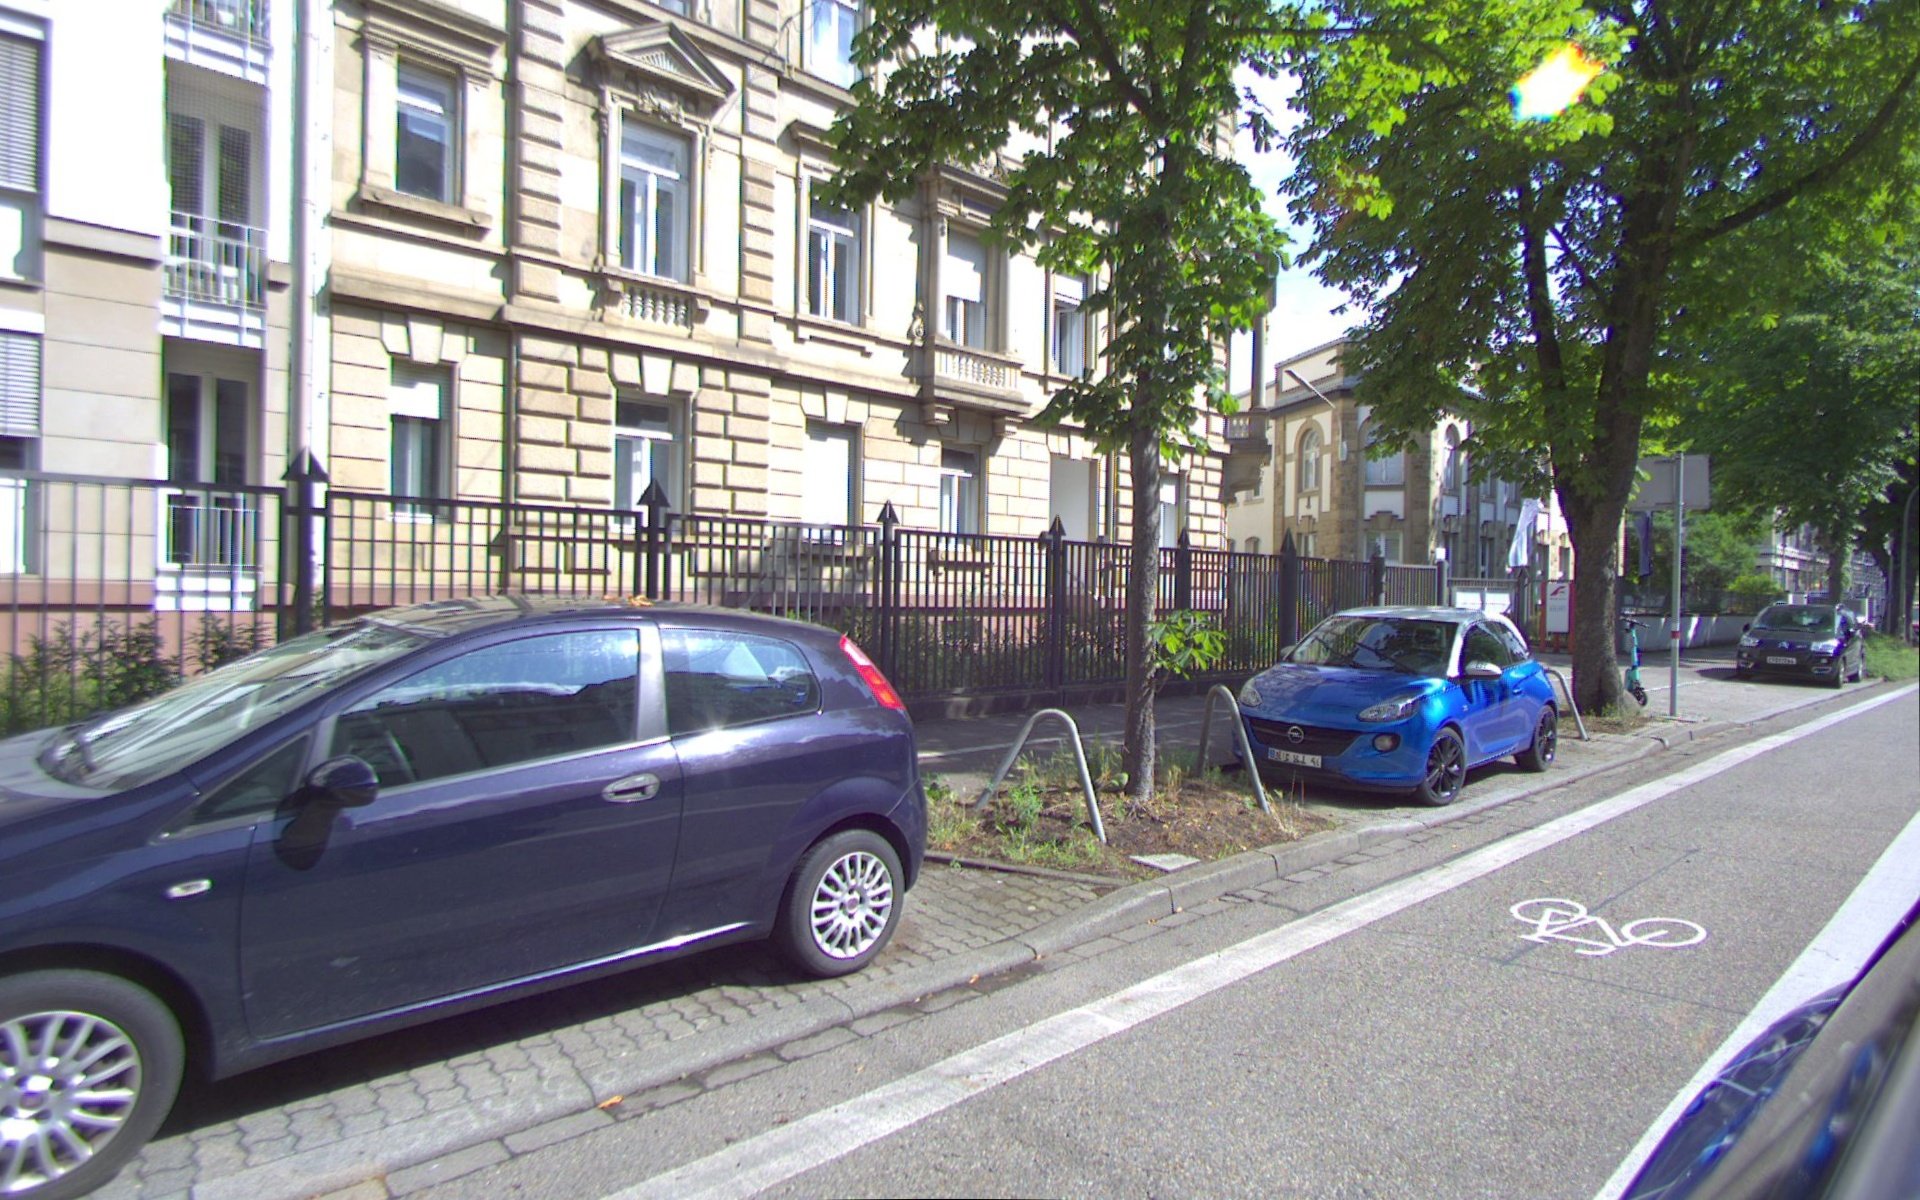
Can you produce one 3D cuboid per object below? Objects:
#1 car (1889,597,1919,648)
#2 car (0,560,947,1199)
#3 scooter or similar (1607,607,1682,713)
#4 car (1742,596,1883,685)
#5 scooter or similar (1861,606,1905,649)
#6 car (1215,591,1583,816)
[{"bbox_3d":[34.645,0.810,36.093,4.210,1.697,1.878,0,2,-44],"label":"car"},{"bbox_3d":[-1.973,0.661,3.657,3.694,1.514,1.642,0,2,-43],"label":"car"},{"bbox_3d":[9.170,0.778,13.596,0.436,1.315,1.175,4,1,18],"label":"scooter or similar"},{"bbox_3d":[17.913,0.758,21.207,4.131,1.610,1.699,0,3,-43],"label":"car"},{"bbox_3d":[28.321,0.851,31.065,1.233,1.252,0.343,2,3,-17],"label":"scooter or similar"},{"bbox_3d":[3.959,0.722,8.875,3.565,1.514,1.642,0,2,-43],"label":"car"}]
